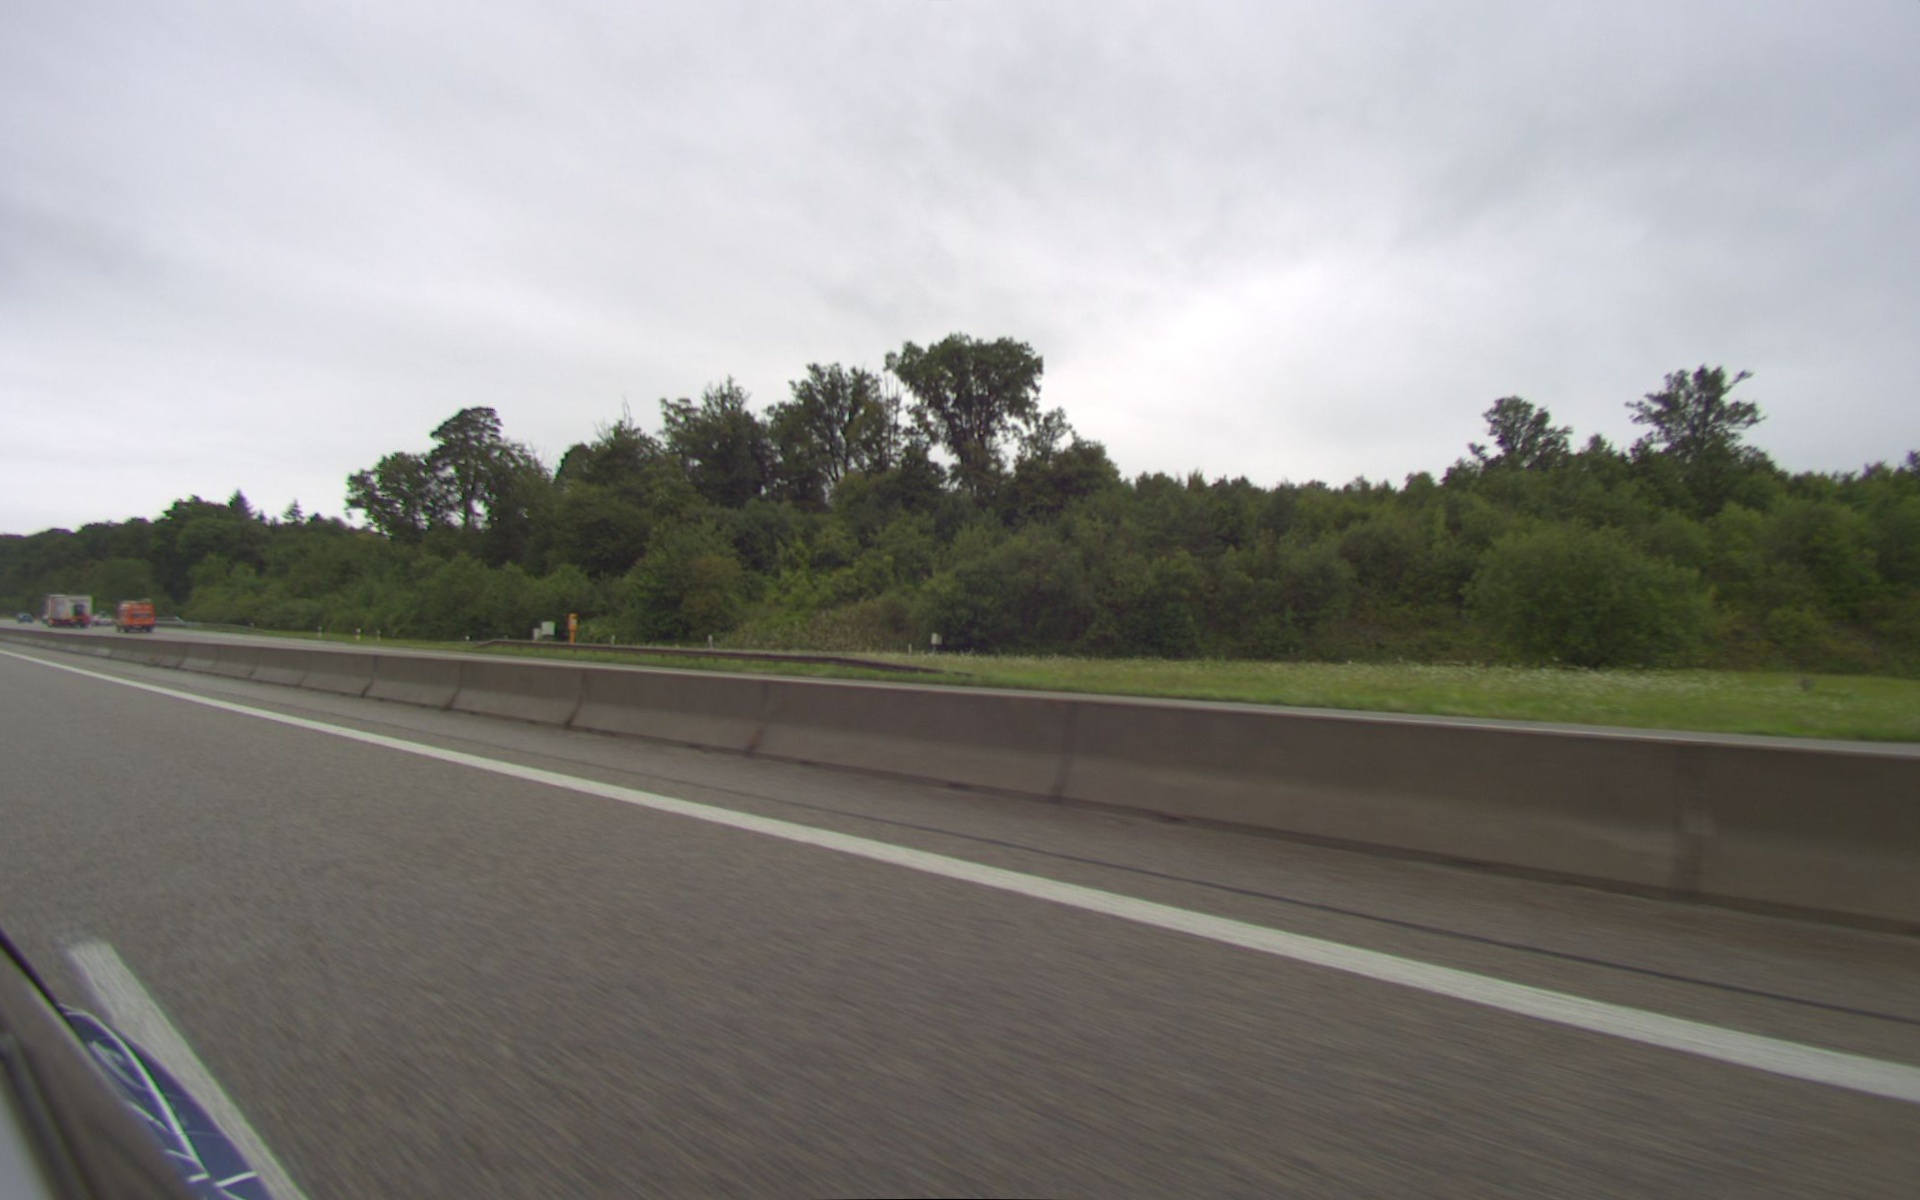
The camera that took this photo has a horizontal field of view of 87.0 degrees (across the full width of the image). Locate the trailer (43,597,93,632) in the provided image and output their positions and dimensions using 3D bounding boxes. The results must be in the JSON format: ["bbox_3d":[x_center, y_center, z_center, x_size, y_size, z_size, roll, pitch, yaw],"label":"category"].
[{"bbox_3d":[-110.096,1.777,124.873,12.608,4.048,3.325,-1,-1,43],"label":"trailer"}]

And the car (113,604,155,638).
[{"bbox_3d":[-77.729,1.939,95.216,5.974,3.066,2.157,-1,-1,42],"label":"car"}]

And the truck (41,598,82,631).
[{"bbox_3d":[-114.525,1.825,128.954,6.464,4.059,3.312,-1,-1,43],"label":"truck"}]

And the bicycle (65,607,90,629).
[{"bbox_3d":[-104.943,2.123,120.339,1.110,2.545,2.170,-1,0,42],"label":"bicycle"}]

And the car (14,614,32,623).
[{"bbox_3d":[-152.843,3.086,165.137,3.997,1.453,1.693,-1,-2,41],"label":"car"}]
